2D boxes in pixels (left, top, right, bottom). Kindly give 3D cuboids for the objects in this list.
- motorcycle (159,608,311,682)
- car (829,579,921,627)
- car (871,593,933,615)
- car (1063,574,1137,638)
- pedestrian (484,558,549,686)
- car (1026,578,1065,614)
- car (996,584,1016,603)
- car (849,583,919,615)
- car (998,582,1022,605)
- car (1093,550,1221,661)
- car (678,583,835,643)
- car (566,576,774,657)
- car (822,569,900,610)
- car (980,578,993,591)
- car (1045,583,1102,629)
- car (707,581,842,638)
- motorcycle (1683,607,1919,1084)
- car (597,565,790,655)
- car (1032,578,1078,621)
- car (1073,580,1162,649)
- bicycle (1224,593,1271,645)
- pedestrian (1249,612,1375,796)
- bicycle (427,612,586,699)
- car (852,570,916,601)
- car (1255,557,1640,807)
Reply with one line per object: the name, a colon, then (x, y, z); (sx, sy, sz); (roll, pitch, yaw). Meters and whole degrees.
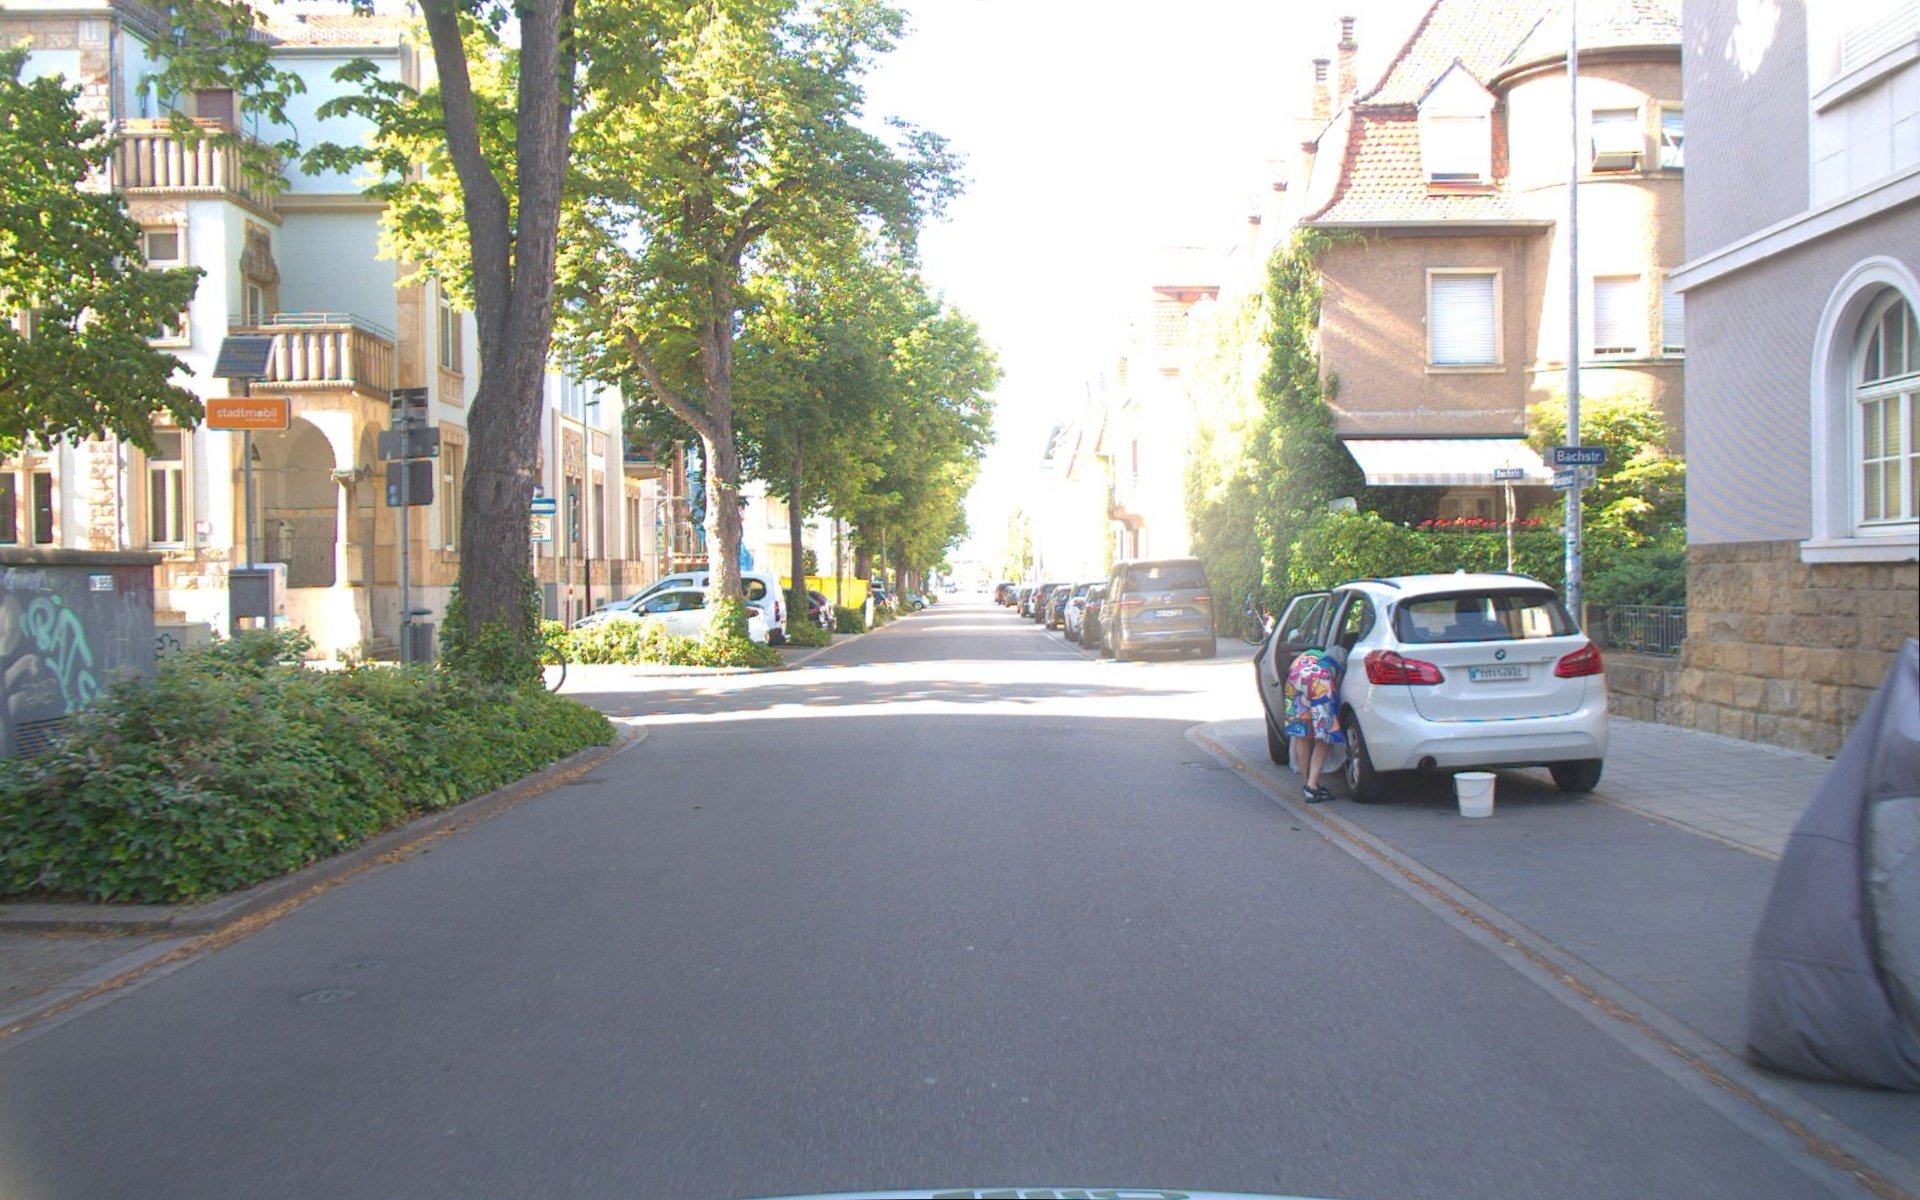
motorcycle: (-12.039, 0.749, 27.479); (2.164, 1.197, 0.899); (-1, -1, 9)
car: (-3.800, 0.139, 73.656); (3.912, 2.049, 1.996); (-1, -1, -8)
car: (-3.946, 0.239, 112.493); (3.901, 1.434, 1.703); (-1, 1, 11)
car: (3.744, 0.130, 44.688); (1.752, 1.646, 3.867); (-1, 1, 1)
pedestrian: (-6.159, 0.295, 23.006); (0.617, 1.724, 0.653); (-2, 1, 4)
car: (4.100, -0.232, 79.605); (1.734, 1.659, 3.867); (-1, 1, 1)
car: (4.194, -0.606, 150.181); (1.734, 1.659, 3.867); (-1, 1, 1)
car: (-4.455, -0.078, 97.685); (3.923, 1.765, 1.895); (2, 1, 2)
car: (3.671, -0.492, 121.622); (1.734, 1.659, 3.867); (-1, 1, 1)
car: (3.773, 0.061, 32.388); (1.865, 1.903, 4.673); (-4, 1, 0)
car: (-5.447, 0.338, 44.606); (3.904, 1.495, 1.864); (-1, 1, 2)
car: (-5.795, 0.331, 33.372); (3.908, 1.489, 1.797); (1, 0, -4)
car: (-5.200, -0.538, 86.366); (3.912, 2.049, 1.997); (-1, 0, -8)
car: (3.517, -2.034, 220.434); (1.734, 1.659, 3.867); (-1, 1, 1)
car: (3.821, 0.179, 56.027); (1.734, 1.480, 3.867); (-1, 1, 1)
car: (-5.544, 0.259, 49.442); (3.912, 1.579, 1.834); (-1, 1, -8)
motorcycle: (3.353, 0.747, 4.796); (0.908, 1.362, 2.179); (1, 2, -29)
car: (-5.683, 0.206, 35.679); (3.908, 1.791, 1.797); (1, 0, -4)
car: (3.808, -0.062, 66.913); (1.734, 1.659, 3.867); (-1, 1, 1)
car: (3.650, 0.308, 38.923); (1.656, 1.423, 3.805); (-4, 1, 0)
bicycle: (6.044, 0.382, 34.834); (0.576, 1.041, 2.370); (-1, 1, 0)
pedestrian: (2.577, 0.745, 12.142); (0.710, 1.279, 0.645); (-2, 0, -7)
bicycle: (-6.295, 0.765, 23.004); (1.949, 1.084, 0.760); (-2, 1, 4)
car: (-4.890, -0.935, 106.966); (3.923, 1.873, 2.001); (2, 1, 2)
car: (3.616, 0.521, 13.074); (1.665, 1.566, 4.154); (-3, 1, -1)
